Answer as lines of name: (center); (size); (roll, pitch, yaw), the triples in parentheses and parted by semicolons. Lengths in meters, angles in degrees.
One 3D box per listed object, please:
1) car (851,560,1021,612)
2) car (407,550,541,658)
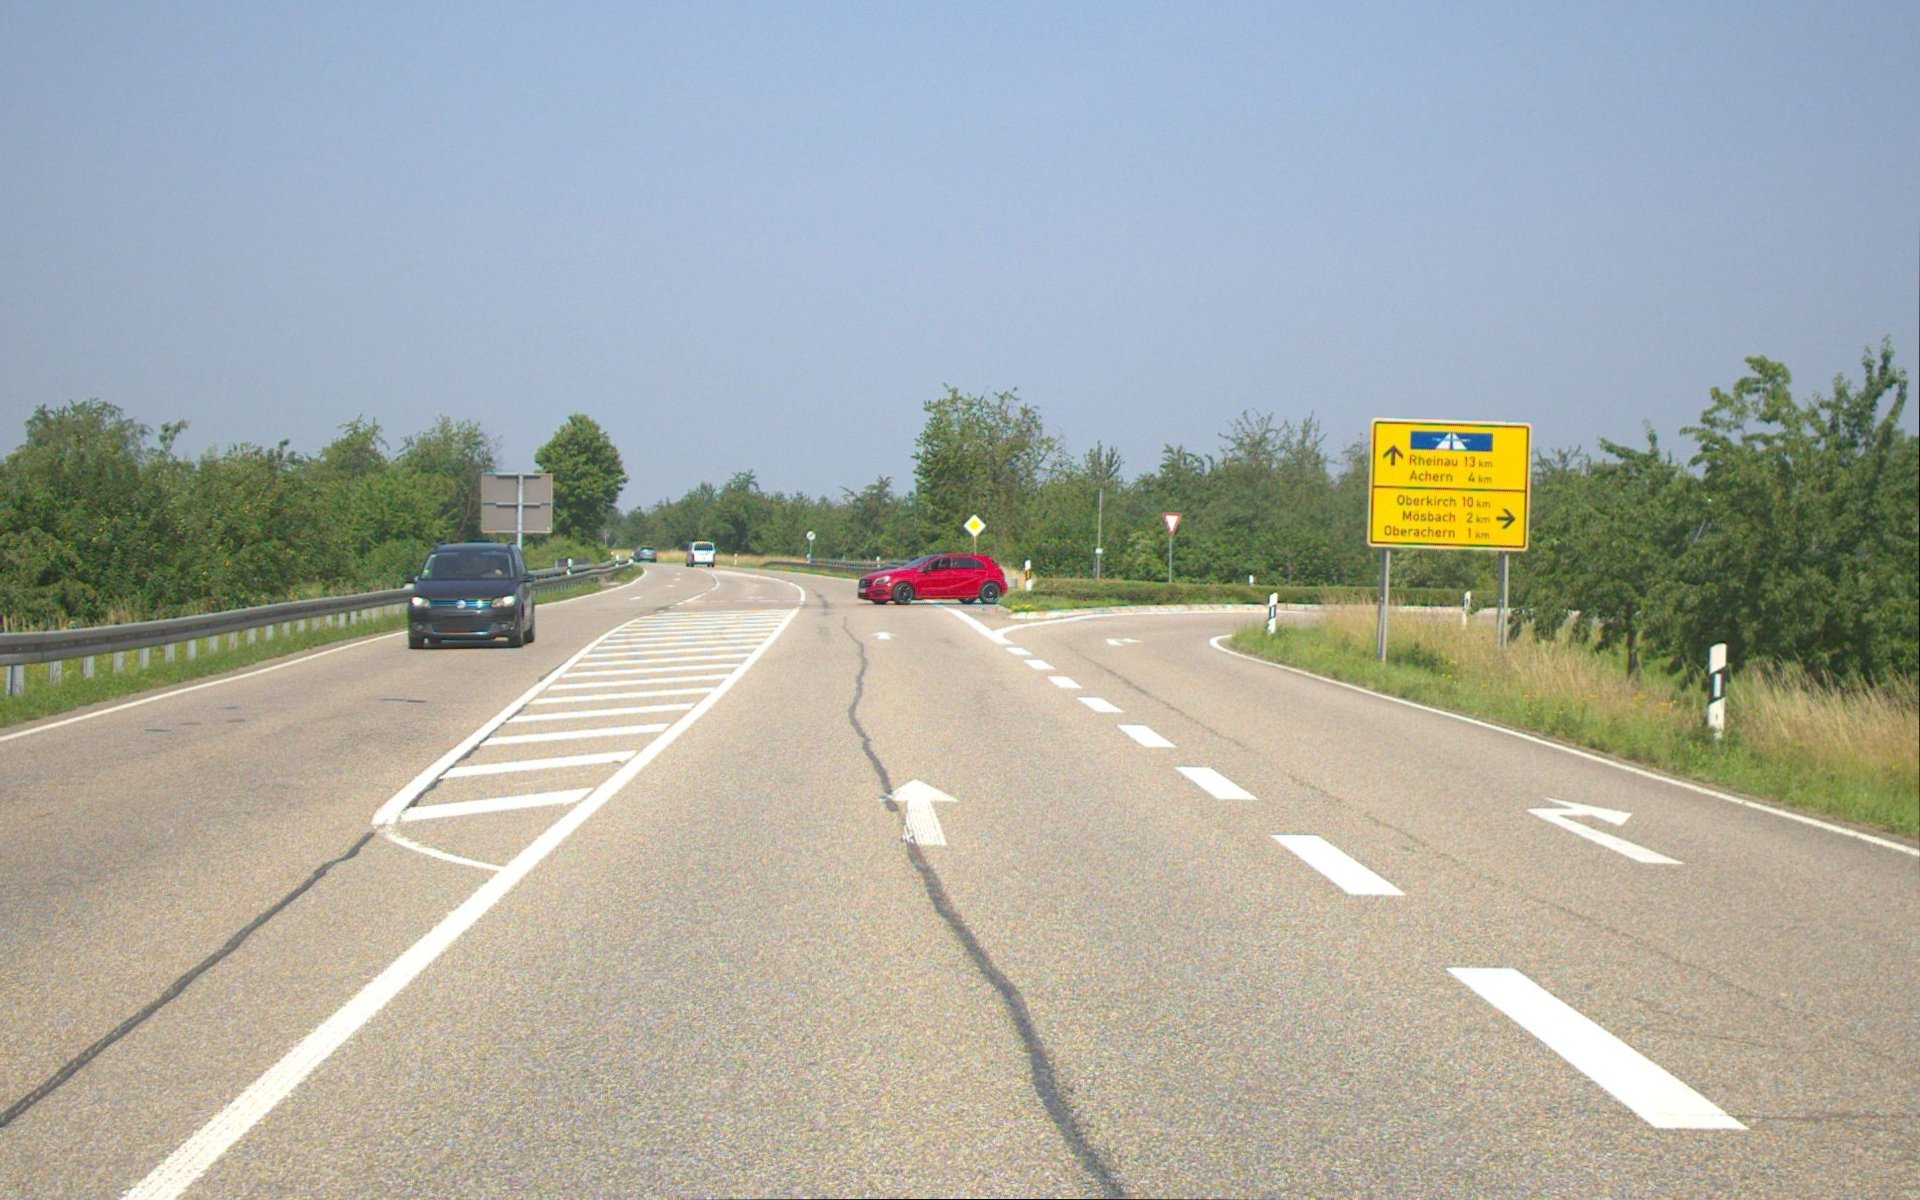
car: (-0.683, -0.406, 97.717); (4.479, 1.444, 1.822); (0, 0, -21)
car: (-7.704, 0.041, 54.823); (1.803, 1.632, 4.810); (0, 0, -4)
